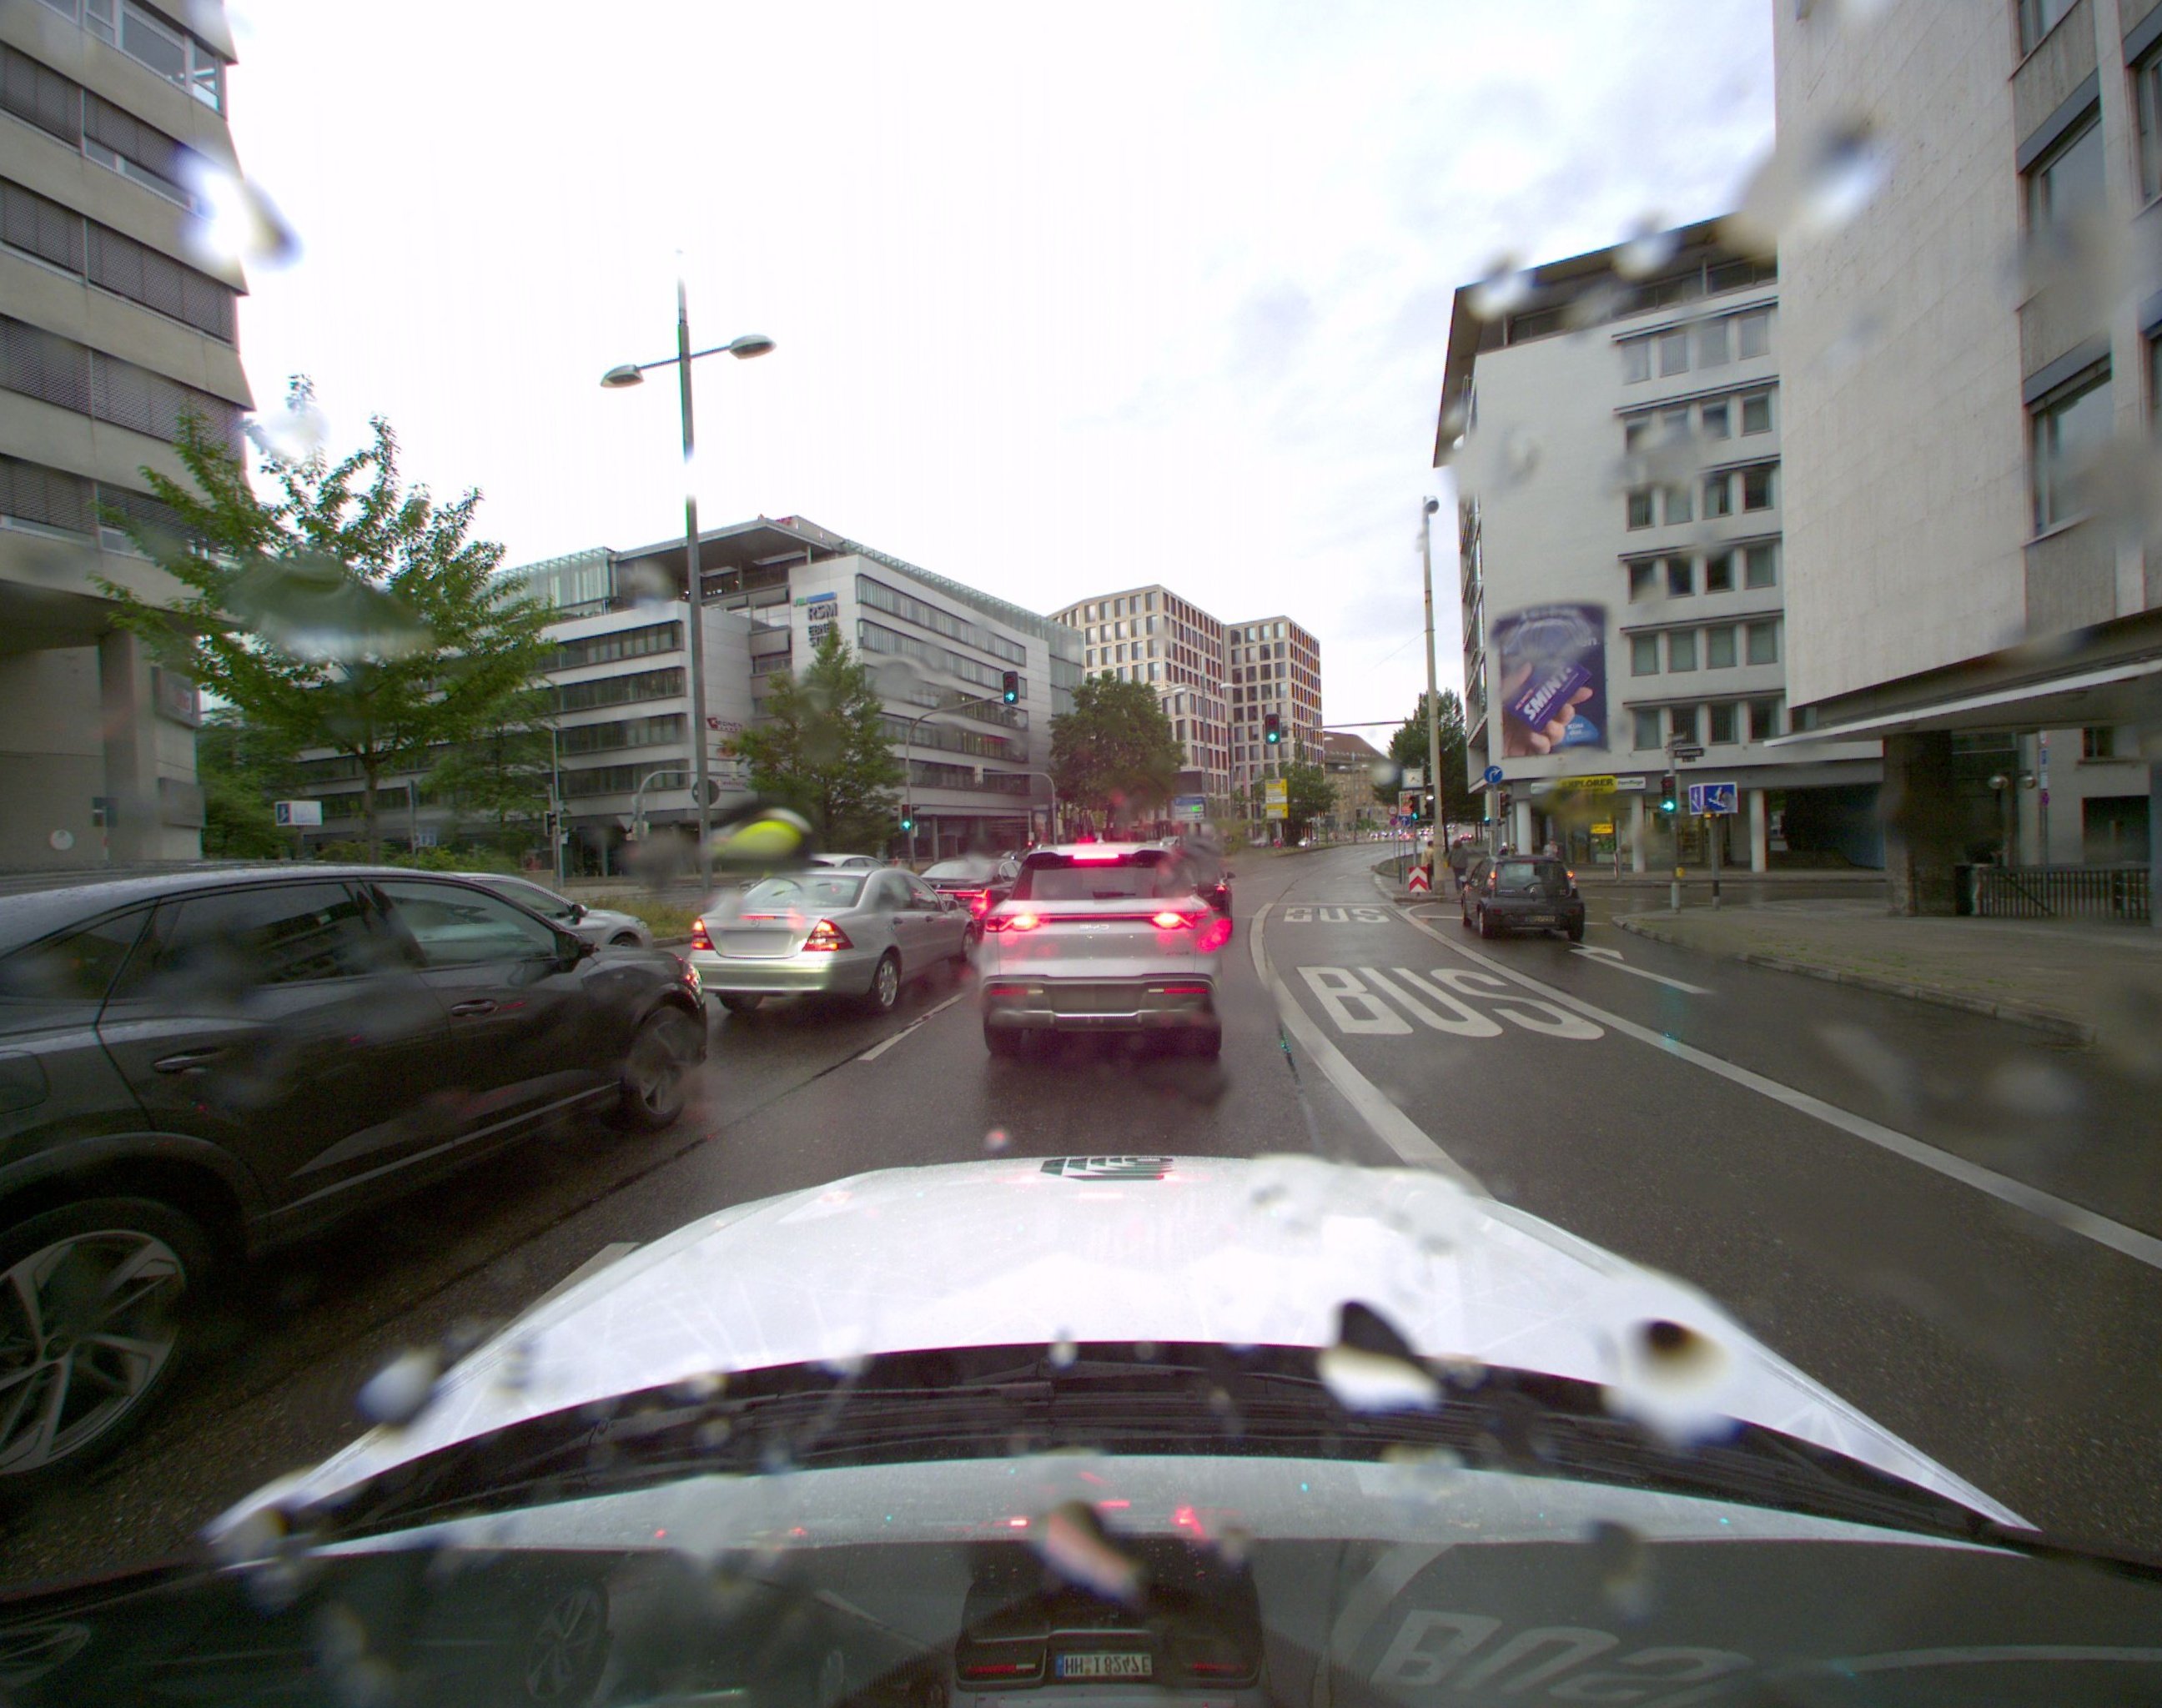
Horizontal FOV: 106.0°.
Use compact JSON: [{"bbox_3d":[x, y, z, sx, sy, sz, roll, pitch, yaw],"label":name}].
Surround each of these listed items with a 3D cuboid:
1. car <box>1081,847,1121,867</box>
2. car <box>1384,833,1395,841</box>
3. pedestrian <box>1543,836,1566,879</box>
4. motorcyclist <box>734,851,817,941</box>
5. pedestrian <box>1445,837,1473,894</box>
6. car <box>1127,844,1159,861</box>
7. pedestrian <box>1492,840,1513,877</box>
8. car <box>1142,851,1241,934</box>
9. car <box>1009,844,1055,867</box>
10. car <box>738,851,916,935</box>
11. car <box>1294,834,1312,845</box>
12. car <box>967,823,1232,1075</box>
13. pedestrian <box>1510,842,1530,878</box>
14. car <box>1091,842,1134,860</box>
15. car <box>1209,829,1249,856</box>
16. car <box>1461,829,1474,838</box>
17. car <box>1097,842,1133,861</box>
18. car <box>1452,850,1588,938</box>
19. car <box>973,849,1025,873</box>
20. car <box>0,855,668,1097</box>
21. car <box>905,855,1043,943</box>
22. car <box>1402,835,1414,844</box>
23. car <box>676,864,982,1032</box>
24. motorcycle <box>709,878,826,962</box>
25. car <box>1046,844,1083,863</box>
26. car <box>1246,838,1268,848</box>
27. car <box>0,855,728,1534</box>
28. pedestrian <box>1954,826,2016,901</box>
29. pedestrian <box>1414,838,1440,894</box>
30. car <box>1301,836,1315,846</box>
[{"bbox_3d":[1.465,0.223,58.555,1.675,1.385,3.888,-1,-1,21],"label":"car"},{"bbox_3d":[76.396,-4.210,201.678,1.975,2.013,4.025,-1,0,29],"label":"car"},{"bbox_3d":[20.193,0.138,34.717,0.778,1.794,0.662,-1,0,-45],"label":"pedestrian"},{"bbox_3d":[-4.900,0.646,13.115,0.765,1.380,1.122,-1,-1,11],"label":"motorcyclist"},{"bbox_3d":[12.313,0.364,26.555,0.742,1.798,0.821,-1,1,22],"label":"pedestrian"},{"bbox_3d":[6.265,-0.167,81.419,1.616,1.559,4.620,-1,1,25],"label":"car"},{"bbox_3d":[18.960,0.198,36.629,0.657,1.655,0.662,-1,0,-45],"label":"pedestrian"},{"bbox_3d":[2.377,0.715,16.714,1.682,1.486,4.013,-1,-1,12],"label":"car"},{"bbox_3d":[-3.301,0.085,55.762,1.630,1.536,4.172,-1,0,19],"label":"car"},{"bbox_3d":[-4.961,0.710,16.530,1.696,1.486,4.013,-1,-1,11],"label":"car"},{"bbox_3d":[30.513,-1.983,111.925,1.616,1.437,3.931,-1,1,25],"label":"car"},{"bbox_3d":[0.255,0.657,7.487,1.768,1.679,4.004,-1,-1,4],"label":"car"},{"bbox_3d":[19.460,0.265,36.117,0.657,1.543,0.618,-1,0,-45],"label":"pedestrian"},{"bbox_3d":[2.966,-0.336,75.398,1.796,1.510,5.228,-1,1,28],"label":"car"},{"bbox_3d":[11.846,-0.873,65.036,1.975,2.014,4.876,-1,-1,25],"label":"car"},{"bbox_3d":[70.738,-3.736,148.969,1.677,1.486,4.025,-1,-1,32],"label":"car"},{"bbox_3d":[2.924,-0.230,68.448,1.629,1.581,4.109,-1,0,24],"label":"car"},{"bbox_3d":[8.166,0.674,15.485,1.558,1.429,4.018,-1,-1,18],"label":"car"},{"bbox_3d":[-5.814,0.473,58.327,1.976,1.610,4.022,1,1,22],"label":"car"},{"bbox_3d":[-6.115,0.804,7.730,1.858,1.533,4.778,-1,0,1],"label":"car"},{"bbox_3d":[-1.914,0.775,15.757,1.561,1.486,4.010,-1,-1,9],"label":"car"},{"bbox_3d":[60.627,-2.710,150.941,1.871,1.643,4.023,-1,0,24],"label":"car"},{"bbox_3d":[-2.454,0.831,9.083,1.561,1.407,4.120,-1,-1,9],"label":"car"},{"bbox_3d":[-4.960,1.006,13.057,0.795,1.185,2.034,-1,-1,11],"label":"motorcycle"},{"bbox_3d":[-1.344,-0.039,67.312,1.623,1.571,3.740,-1,-1,25],"label":"car"},{"bbox_3d":[26.443,-1.663,122.359,1.974,1.488,4.025,-1,1,29],"label":"car"},{"bbox_3d":[-3.234,0.787,3.233,1.642,1.521,4.274,-1,0,2],"label":"car"},{"bbox_3d":[21.249,0.226,19.161,0.764,1.731,0.599,-1,0,16],"label":"pedestrian"},{"bbox_3d":[11.477,0.387,27.050,0.742,1.798,0.821,-1,1,22],"label":"pedestrian"},{"bbox_3d":[45.341,-2.592,162.767,1.590,1.741,3.467,-1,-1,34],"label":"car"}]
